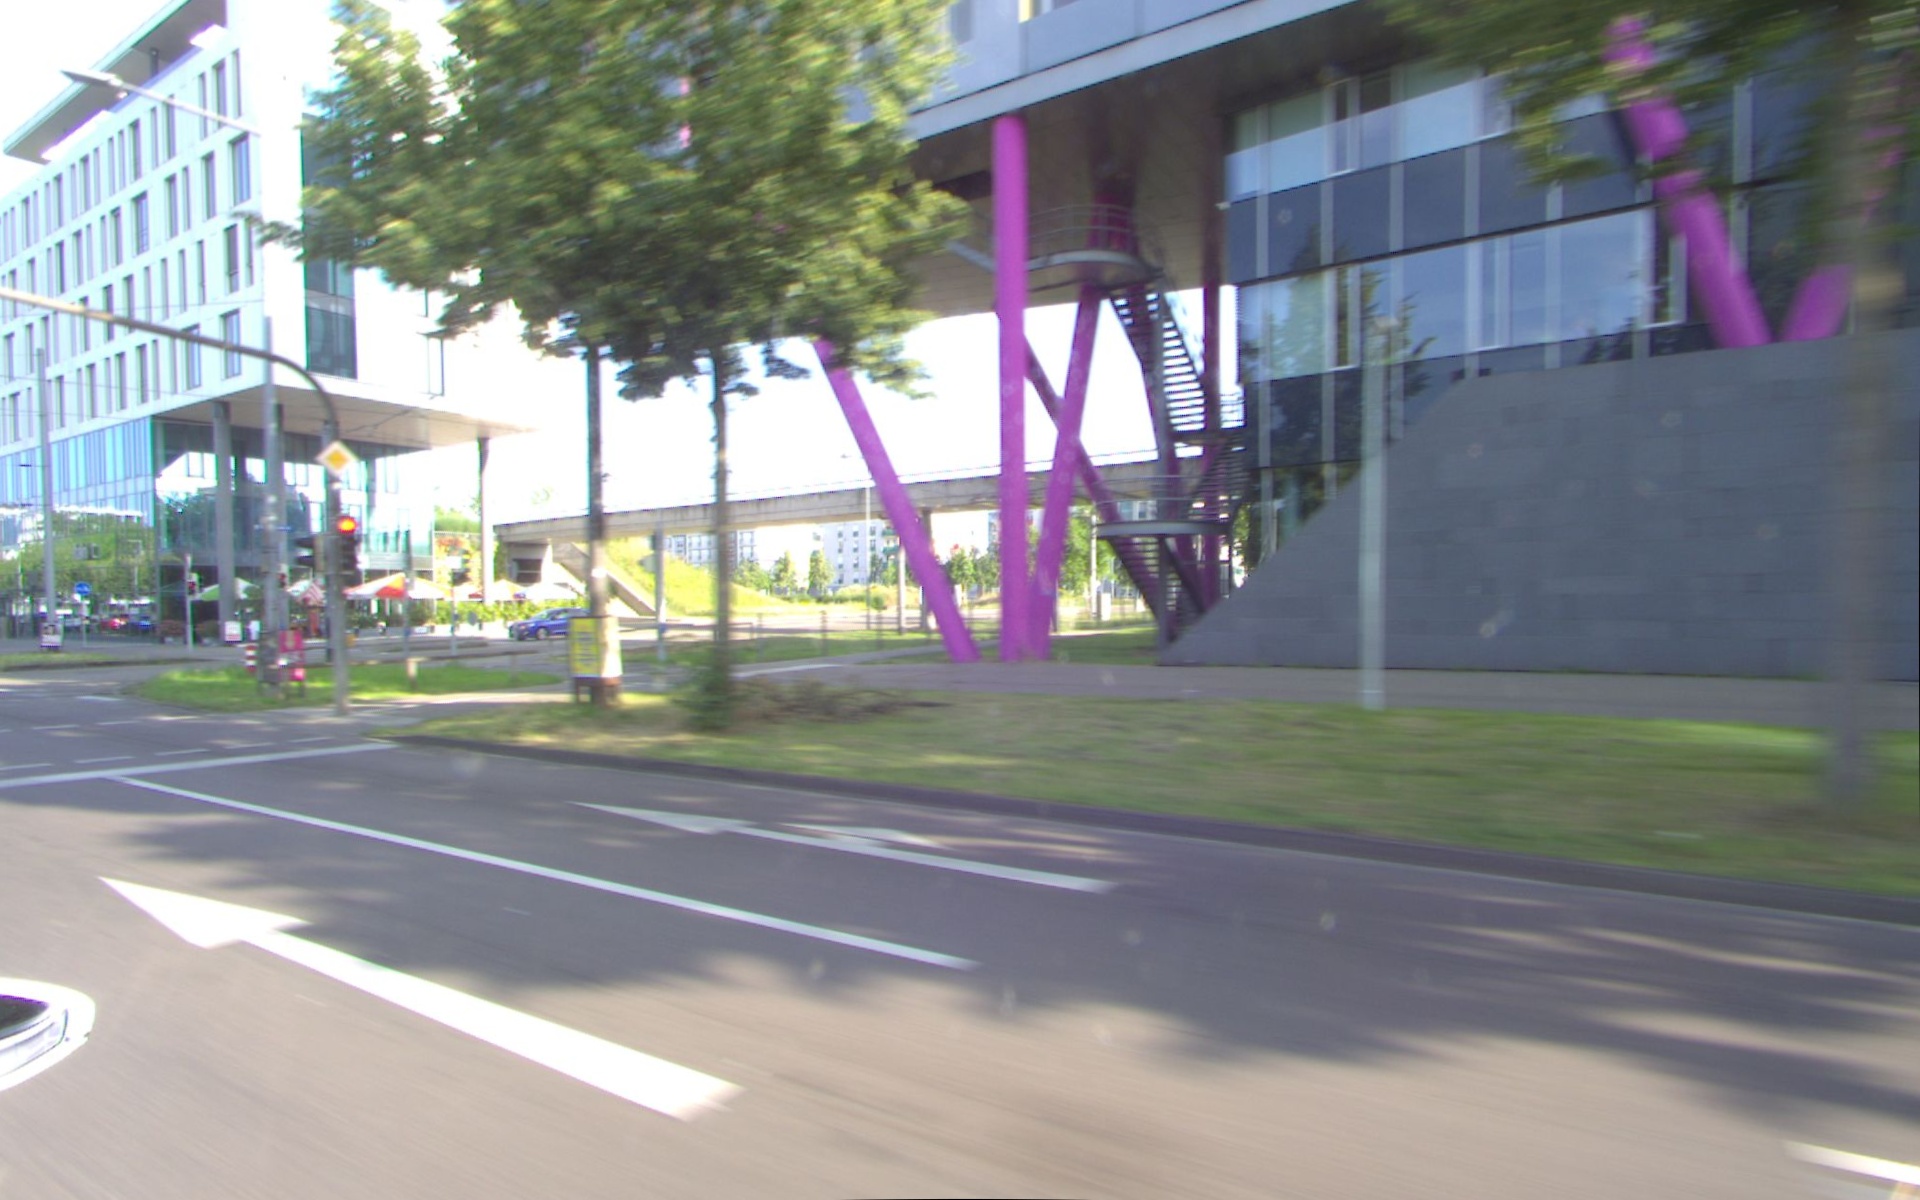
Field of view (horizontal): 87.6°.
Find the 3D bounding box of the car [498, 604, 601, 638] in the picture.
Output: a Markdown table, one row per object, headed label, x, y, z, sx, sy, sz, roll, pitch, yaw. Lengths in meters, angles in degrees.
| label | x | y | z | sx | sy | sz | roll | pitch | yaw |
| --- | --- | --- | --- | --- | --- | --- | --- | --- | --- |
| car | -19.150 | 0.936 | 46.867 | 1.832 | 1.443 | 4.175 | 0 | 1 | 32 |
